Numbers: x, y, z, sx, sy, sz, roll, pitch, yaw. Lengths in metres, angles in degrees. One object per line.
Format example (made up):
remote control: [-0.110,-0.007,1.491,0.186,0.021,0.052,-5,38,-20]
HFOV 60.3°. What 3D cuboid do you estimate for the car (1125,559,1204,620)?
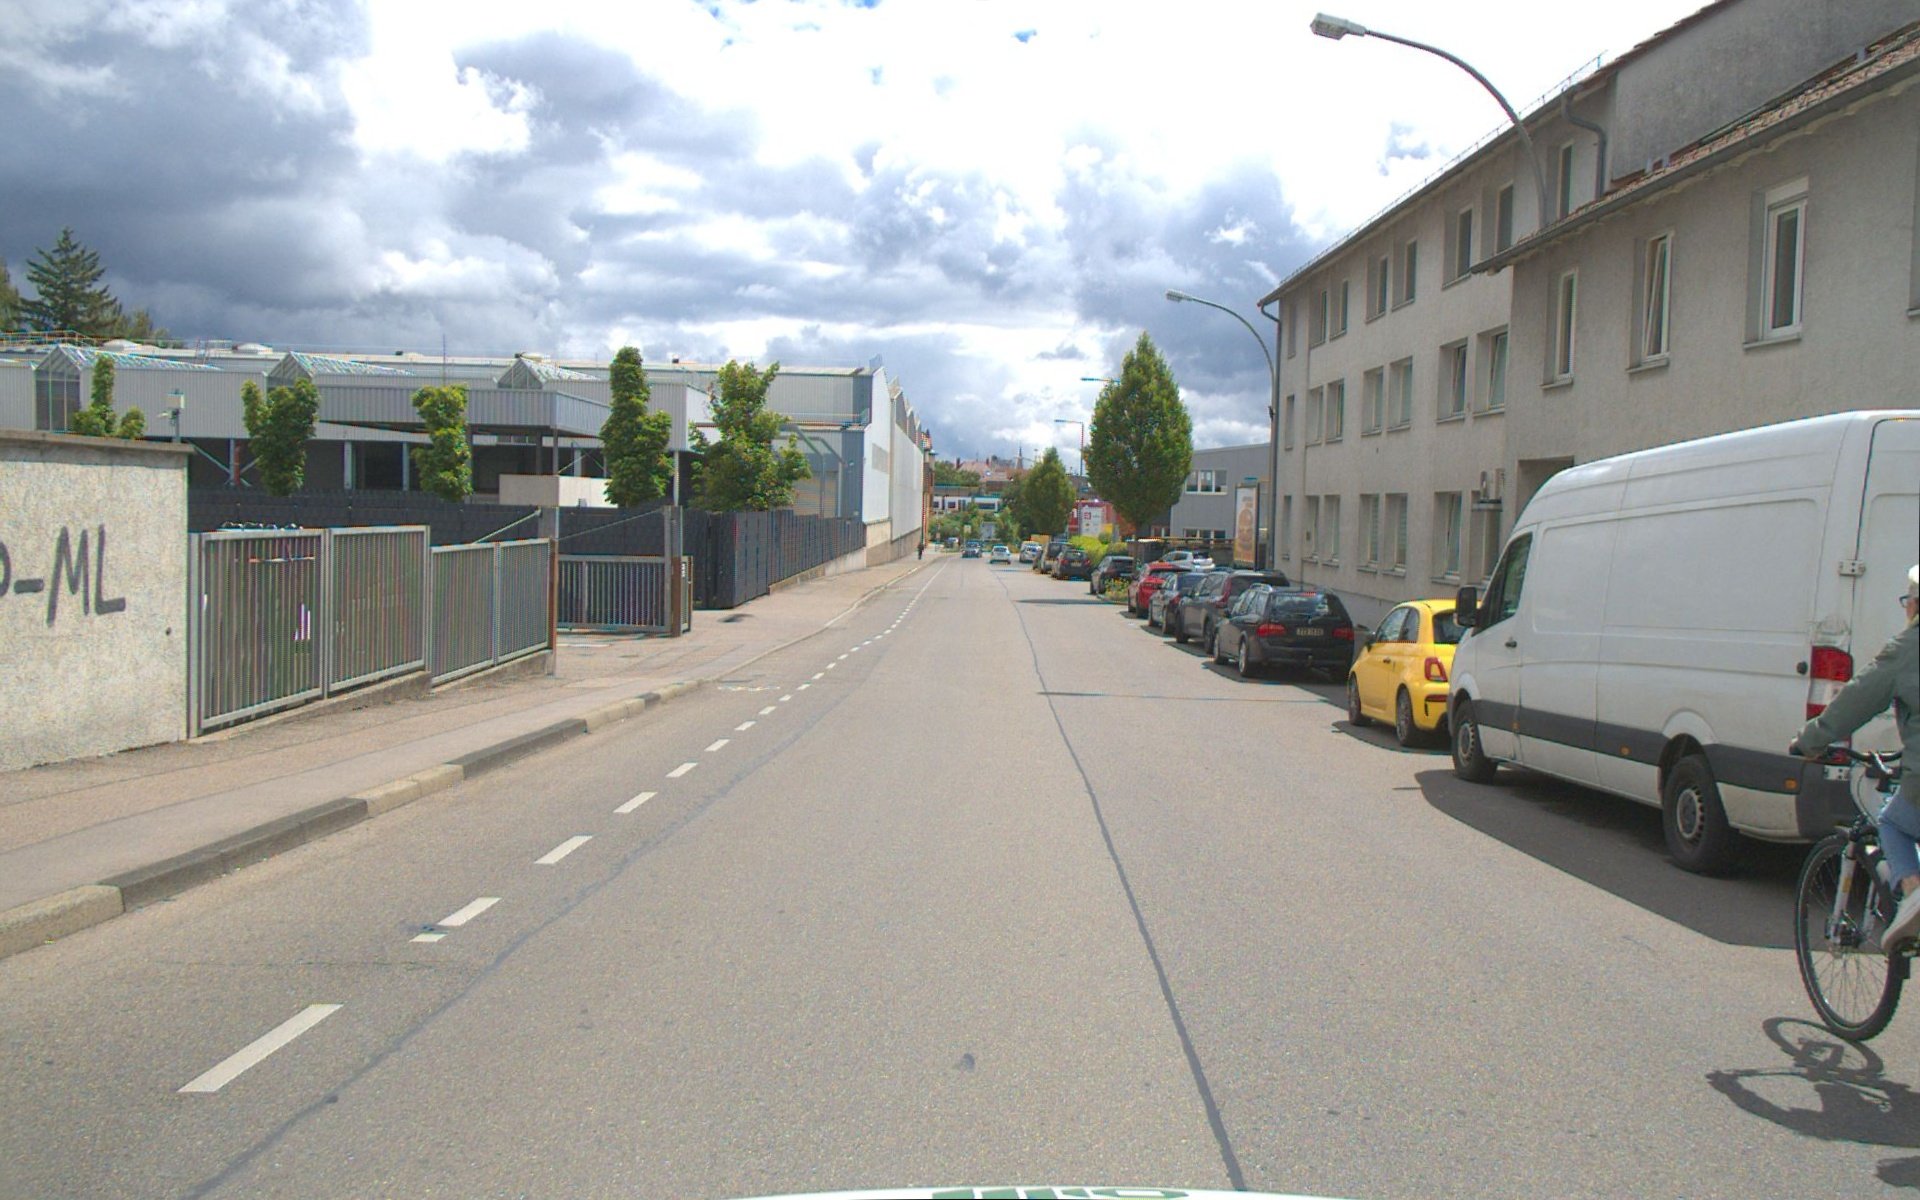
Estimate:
car: [5.660,-0.331,46.244,1.699,1.498,4.263,2,2,1]

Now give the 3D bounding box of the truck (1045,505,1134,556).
truck: [12.658,-6.779,161.645,8.277,4.752,2.582,1,0,21]

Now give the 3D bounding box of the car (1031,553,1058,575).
car: [5.976,-2.581,117.288,1.679,1.499,4.512,1,1,0]

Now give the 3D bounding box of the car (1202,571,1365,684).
car: [5.409,0.386,28.284,1.670,1.536,5.088,3,2,-1]

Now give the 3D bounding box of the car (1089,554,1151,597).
car: [5.971,-0.933,62.118,1.755,1.491,4.708,1,1,-1]

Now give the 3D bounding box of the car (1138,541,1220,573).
car: [10.881,-2.141,82.394,1.708,1.488,4.020,-4,2,-38]

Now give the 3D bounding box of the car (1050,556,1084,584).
car: [6.051,-1.722,93.909,1.621,1.567,4.735,1,1,0]

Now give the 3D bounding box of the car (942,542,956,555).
car: [-1.424,-6.734,214.874,1.815,1.512,4.000,1,0,0]

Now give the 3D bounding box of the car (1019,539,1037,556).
car: [6.534,-5.038,158.520,1.666,1.554,3.739,2,2,2]

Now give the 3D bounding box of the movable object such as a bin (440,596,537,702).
movable object such as a bin: [-6.769,0.692,23.811,0.970,1.417,1.216,-1,2,2]

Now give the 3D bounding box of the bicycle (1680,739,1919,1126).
bicycle: [3.220,1.067,5.626,0.725,0.992,1.732,1,1,-2]

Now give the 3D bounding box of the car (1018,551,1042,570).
car: [6.275,-3.516,147.880,1.668,1.554,3.736,4,2,-3]

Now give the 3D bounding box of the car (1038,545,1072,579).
car: [5.947,-2.392,103.824,1.831,2.025,5.144,1,1,0]

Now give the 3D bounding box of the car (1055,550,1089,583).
car: [5.973,-1.800,88.758,1.644,1.666,4.124,1,1,2]

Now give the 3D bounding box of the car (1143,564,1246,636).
car: [5.531,-0.059,39.535,1.699,1.448,4.861,2,2,-1]

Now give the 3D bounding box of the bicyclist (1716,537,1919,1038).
bicyclist: [3.221,0.626,5.850,0.724,1.655,0.731,1,0,-2]

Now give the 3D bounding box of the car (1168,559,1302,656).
car: [5.552,0.091,33.951,1.643,1.666,4.794,3,2,-3]

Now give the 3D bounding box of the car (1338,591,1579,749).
car: [5.363,0.686,18.255,1.560,1.473,3.791,1,1,1]

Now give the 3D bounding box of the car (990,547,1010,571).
car: [3.321,-3.385,137.168,1.535,1.817,3.605,1,0,0]

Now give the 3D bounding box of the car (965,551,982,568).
car: [1.414,-4.253,173.681,1.684,1.583,4.288,-2,0,0]

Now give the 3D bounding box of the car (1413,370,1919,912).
car: [5.319,0.224,11.898,1.992,2.687,7.281,1,0,-1]
